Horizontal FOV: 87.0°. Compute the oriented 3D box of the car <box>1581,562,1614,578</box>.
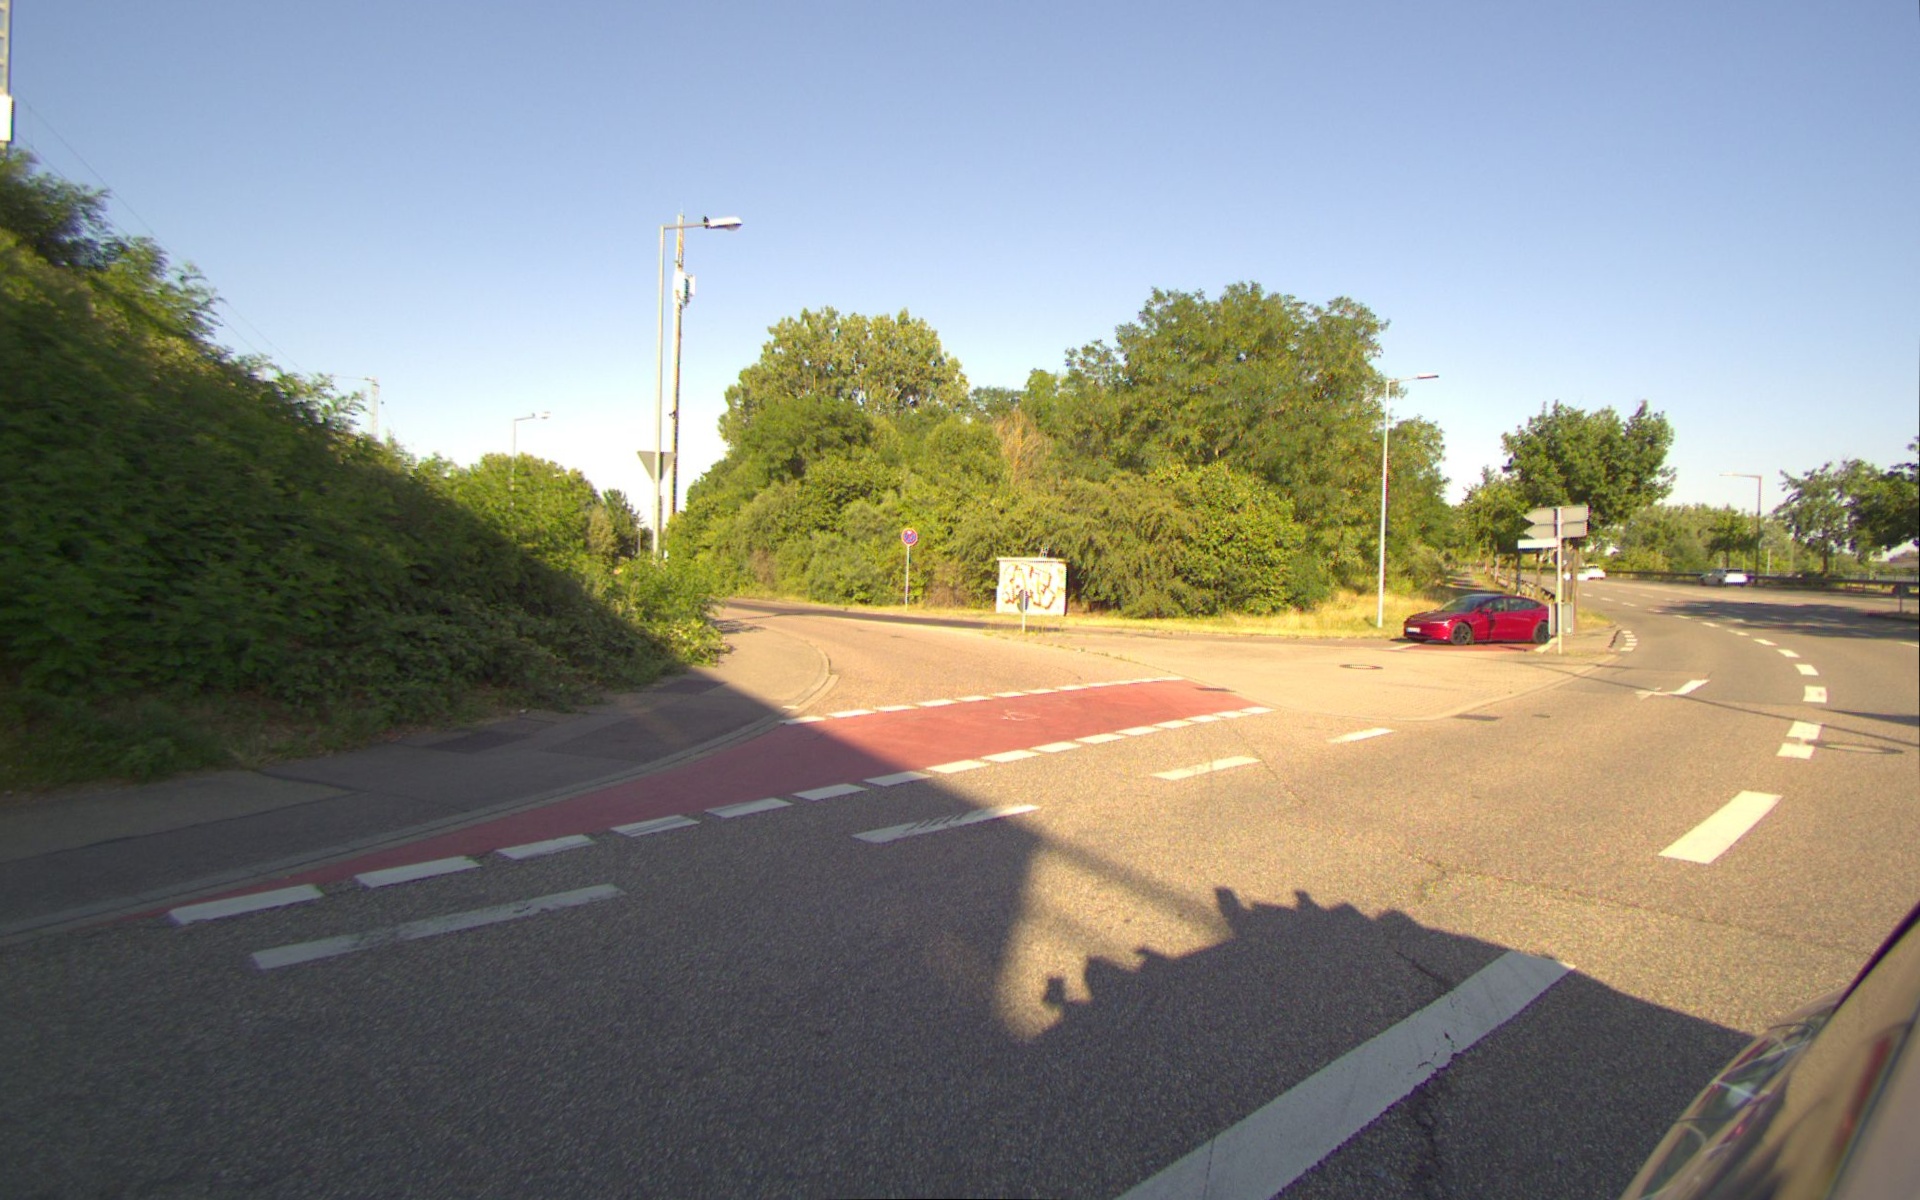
[{"bbox_3d":[62.068,-2.906,98.599,1.721,1.481,3.748,0,1,16],"label":"car"}]

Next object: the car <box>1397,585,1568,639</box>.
[{"bbox_3d":[15.005,0.323,29.122,4.268,1.460,1.786,0,-1,-15],"label":"car"}]

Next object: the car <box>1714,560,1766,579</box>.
[{"bbox_3d":[60.015,-2.373,77.941,1.654,1.480,4.088,1,2,15],"label":"car"}]
